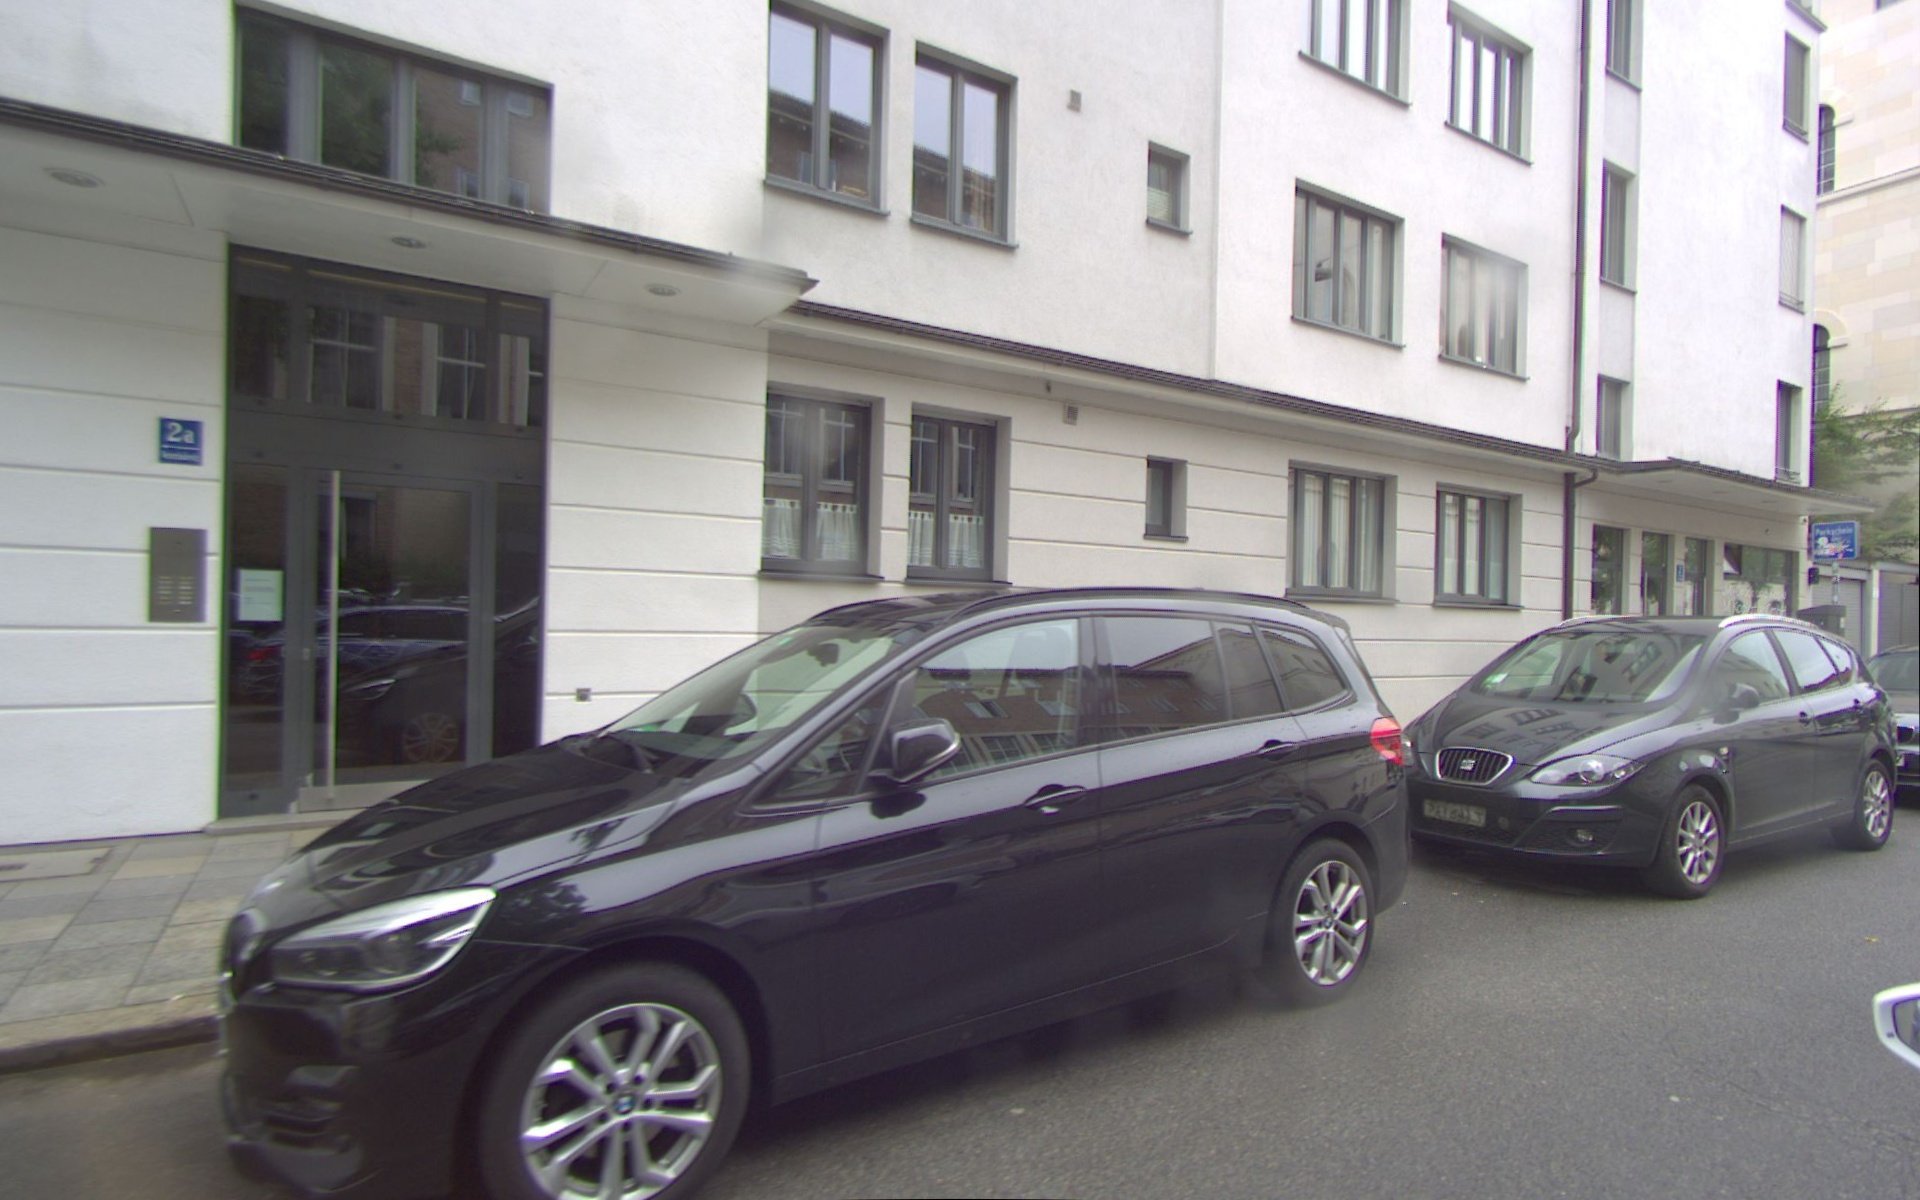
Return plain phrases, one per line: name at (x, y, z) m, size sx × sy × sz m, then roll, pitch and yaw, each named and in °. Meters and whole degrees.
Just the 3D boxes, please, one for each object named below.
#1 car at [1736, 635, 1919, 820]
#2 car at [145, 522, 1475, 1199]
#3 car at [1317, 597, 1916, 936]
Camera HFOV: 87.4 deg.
car at (9.391, 1.084, 9.517) m, size 3.964 × 1.472 × 1.744 m, roll 0°, pitch -2°, yaw -28°
car at (-0.135, 0.745, 3.917) m, size 4.543 × 1.680 × 1.861 m, roll 1°, pitch -2°, yaw -34°
car at (4.541, 0.870, 6.844) m, size 4.033 × 1.680 × 1.863 m, roll 1°, pitch -2°, yaw -31°
